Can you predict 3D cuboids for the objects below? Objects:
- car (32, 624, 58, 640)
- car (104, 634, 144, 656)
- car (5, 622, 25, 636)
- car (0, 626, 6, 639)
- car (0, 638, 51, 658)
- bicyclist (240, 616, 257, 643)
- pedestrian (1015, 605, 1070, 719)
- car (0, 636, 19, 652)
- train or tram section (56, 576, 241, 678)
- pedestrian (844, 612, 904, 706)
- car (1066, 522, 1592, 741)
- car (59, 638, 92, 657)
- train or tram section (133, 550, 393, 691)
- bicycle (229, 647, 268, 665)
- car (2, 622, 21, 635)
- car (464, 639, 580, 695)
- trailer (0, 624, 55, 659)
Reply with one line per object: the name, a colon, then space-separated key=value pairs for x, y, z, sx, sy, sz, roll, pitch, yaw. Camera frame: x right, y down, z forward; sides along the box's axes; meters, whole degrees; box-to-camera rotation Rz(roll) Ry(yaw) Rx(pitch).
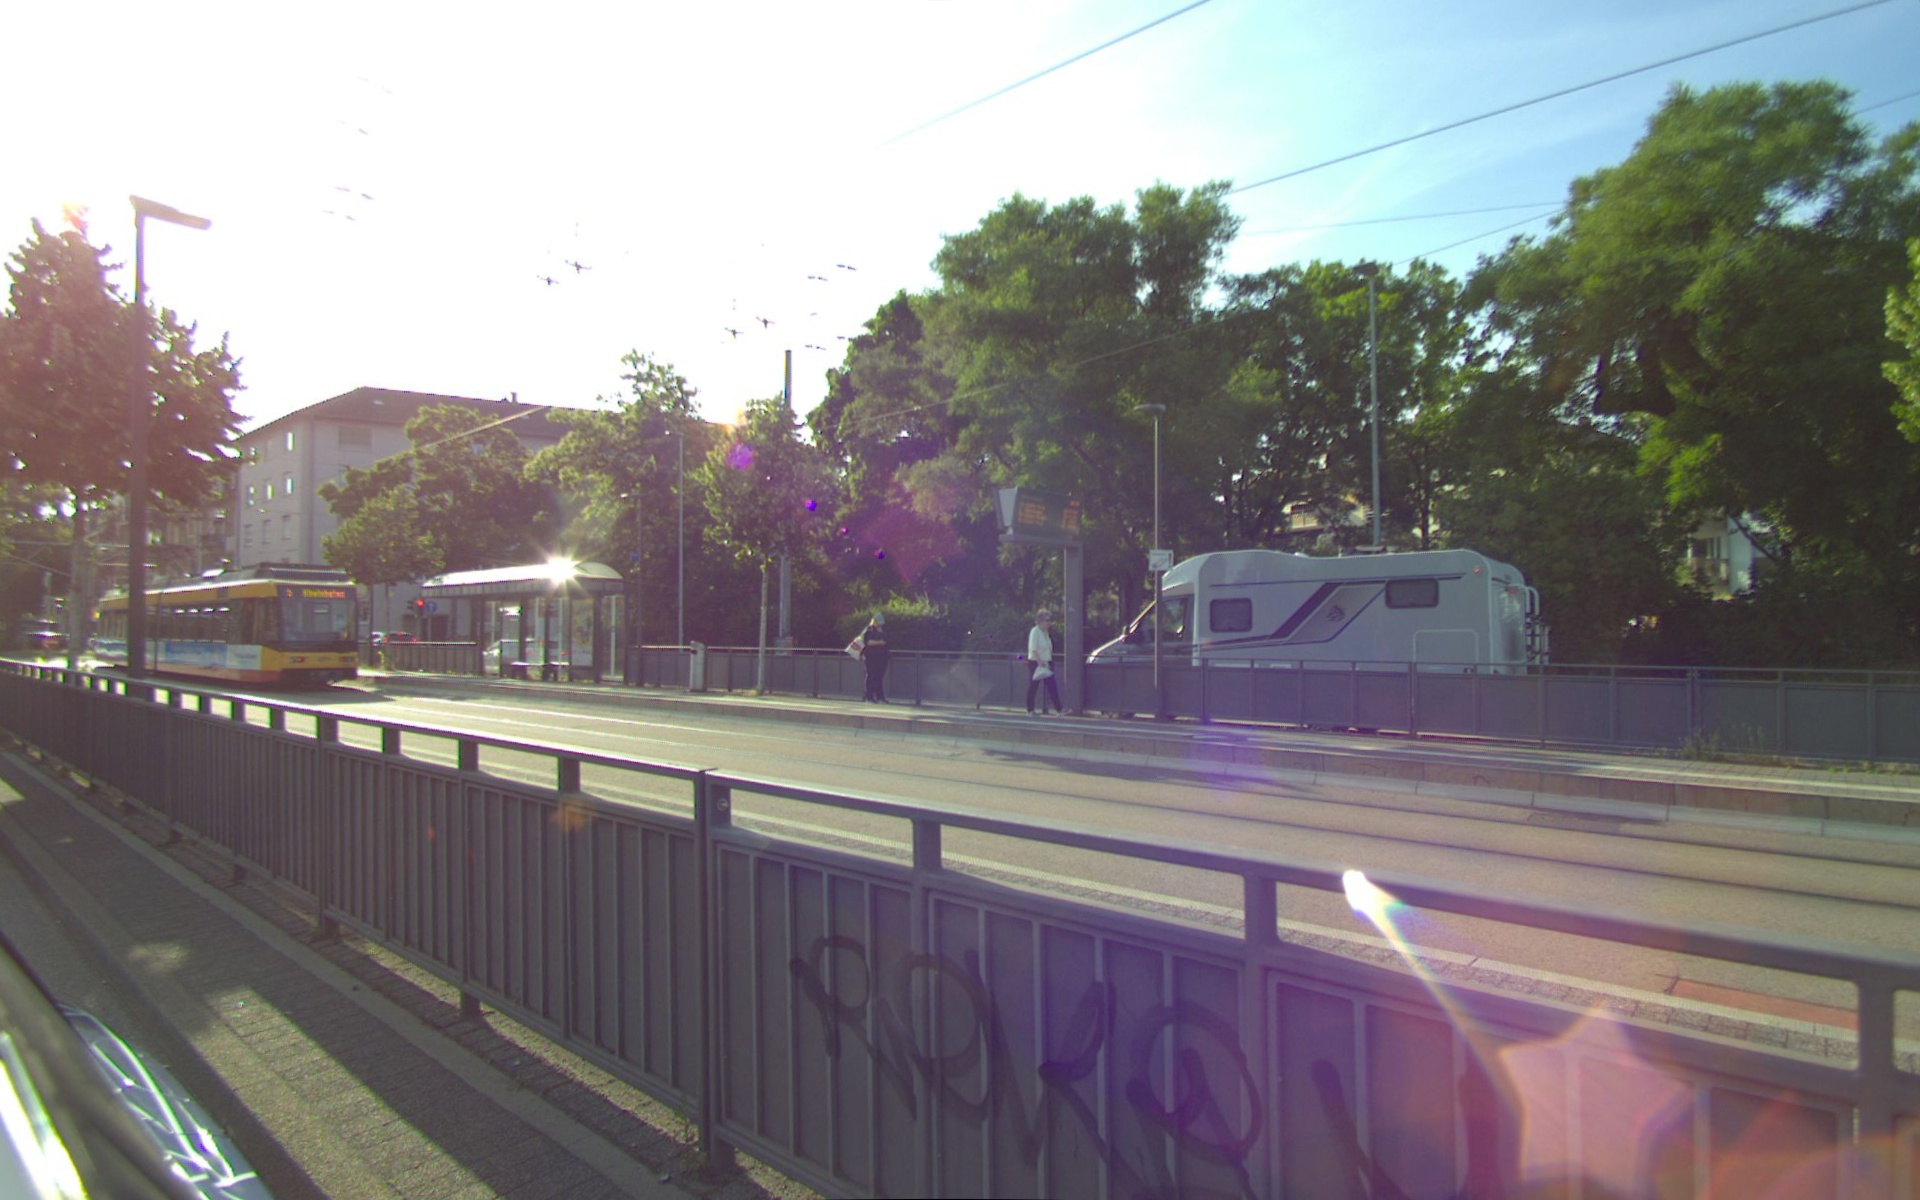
car: x=-114.959 y=4.020 z=127.124 sx=3.999 sy=2.029 sz=1.972 roll=-2 pitch=-2 yaw=42
car: x=-71.154 y=3.797 z=86.104 sx=4.611 sy=1.763 sz=2.141 roll=-2 pitch=-2 yaw=44
car: x=-137.956 y=4.204 z=147.715 sx=1.971 sy=2.029 sz=4.002 roll=1 pitch=-2 yaw=-45
car: x=-155.851 y=5.234 z=163.641 sx=3.998 sy=2.029 sz=1.973 roll=-2 pitch=-2 yaw=41
car: x=-65.246 y=3.270 z=69.483 sx=3.888 sy=1.370 sz=1.676 roll=1 pitch=-2 yaw=-11
bicyclist: x=-43.957 y=1.848 z=62.525 sx=0.760 sy=1.655 sz=0.797 roll=1 pitch=-3 yaw=-28
pedestrian: x=1.238 y=0.924 z=15.153 sx=0.606 sy=1.654 sz=0.576 roll=-2 pitch=-5 yaw=37
car: x=-90.586 y=4.118 z=93.950 sx=4.205 sy=1.433 sz=2.175 roll=-1 pitch=-2 yaw=-7
train or tram section: x=-32.922 y=1.172 z=40.651 sx=14.521 sy=3.506 sz=3.129 roll=-2 pitch=-2 yaw=40
pedestrian: x=-1.553 y=1.055 z=18.291 sx=0.859 sy=1.654 sz=0.660 roll=-2 pitch=-2 yaw=25
car: x=5.505 y=0.520 z=16.207 sx=7.465 sy=2.756 sz=2.569 roll=-2 pitch=-2 yaw=41
car: x=-90.748 y=4.873 z=103.808 sx=4.611 sy=1.915 sz=2.141 roll=-2 pitch=-2 yaw=44
train or tram section: x=-21.935 y=0.738 z=31.203 sx=14.463 sy=3.506 sz=3.129 roll=-2 pitch=-2 yaw=41
bicycle: x=-43.915 y=3.461 z=62.501 sx=1.883 sy=1.119 sz=0.737 roll=1 pitch=-2 yaw=-28
car: x=-145.861 y=4.410 z=155.673 sx=1.971 sy=2.029 sz=4.002 roll=1 pitch=-2 yaw=-45
car: x=-14.495 y=2.160 z=33.395 sx=3.997 sy=1.697 sz=1.973 roll=-2 pitch=-2 yaw=40
trailer: x=-66.939 y=2.948 z=72.347 sx=2.817 sy=2.410 sz=1.728 roll=0 pitch=-2 yaw=-17
